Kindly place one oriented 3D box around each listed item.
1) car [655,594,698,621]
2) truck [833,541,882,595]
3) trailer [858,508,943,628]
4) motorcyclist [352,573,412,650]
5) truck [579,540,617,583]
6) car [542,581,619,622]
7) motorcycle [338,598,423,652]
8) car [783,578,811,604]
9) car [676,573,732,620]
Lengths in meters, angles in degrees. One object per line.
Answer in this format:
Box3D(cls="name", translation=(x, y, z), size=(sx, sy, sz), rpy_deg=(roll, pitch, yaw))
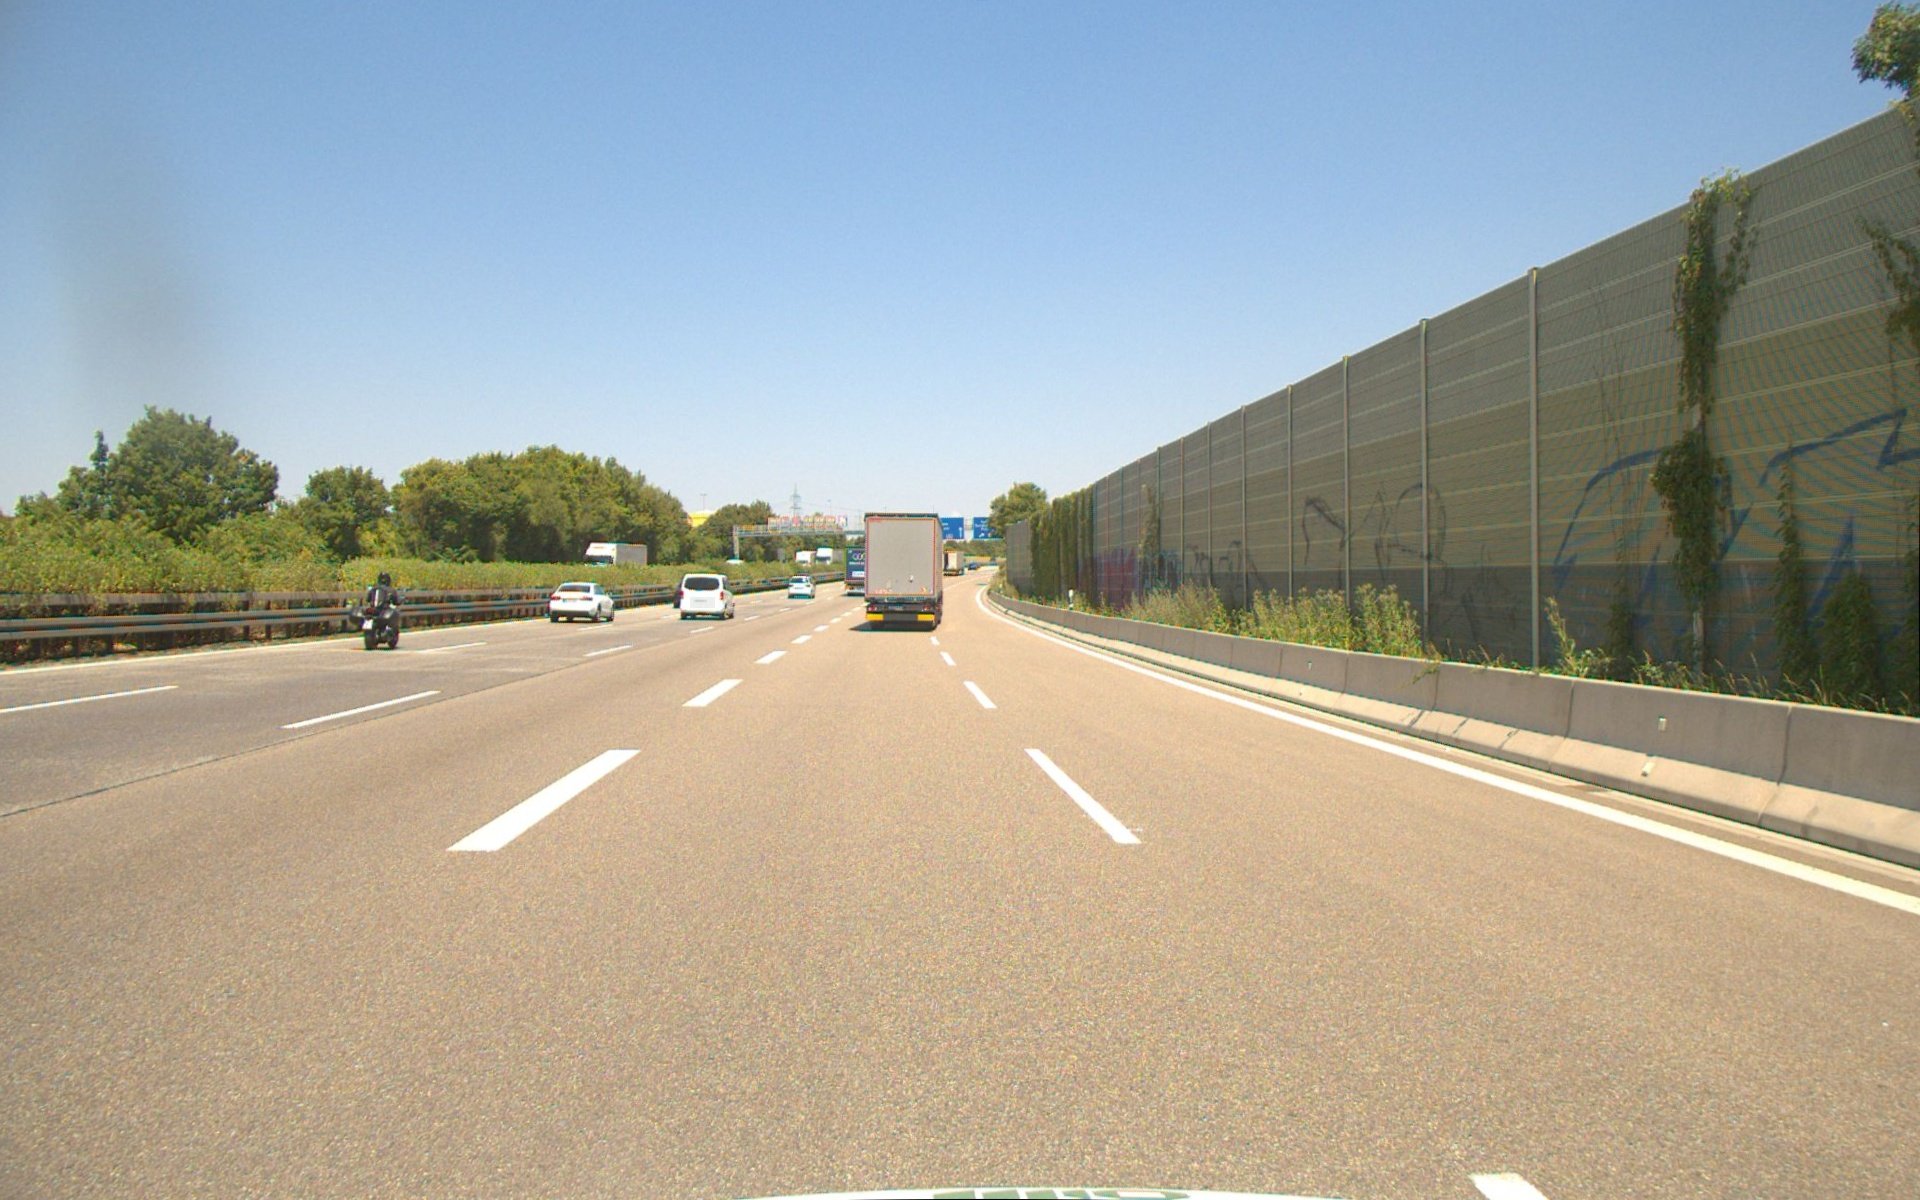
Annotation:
Box3D(cls="car", translation=(-15.470, 0.407, 90.454), size=(1.722, 1.433, 5.036), rpy_deg=(0, -1, -3))
Box3D(cls="truck", translation=(-8.768, -2.838, 143.648), size=(3.671, 4.344, 14.493), rpy_deg=(1, 2, -2))
Box3D(cls="trailer", translation=(-2.273, -1.130, 62.272), size=(2.869, 4.085, 12.033), rpy_deg=(0, 0, -2))
Box3D(cls="motorcyclist", translation=(-12.449, 0.250, 35.660), size=(0.875, 1.625, 1.299), rpy_deg=(0, 0, -2))
Box3D(cls="truck", translation=(-34.207, -3.601, 156.473), size=(2.486, 4.016, 5.166), rpy_deg=(1, 1, -1))
Box3D(cls="car", translation=(-14.055, 0.044, 61.561), size=(1.839, 1.466, 5.124), rpy_deg=(1, 0, -2))
Box3D(cls="motorcycle", translation=(-12.441, 0.521, 35.602), size=(0.894, 1.108, 2.849), rpy_deg=(0, 0, -2))
Box3D(cls="car", translation=(-12.259, -0.699, 124.730), size=(1.866, 1.884, 4.628), rpy_deg=(0, 1, -3))
Box3D(cls="car", translation=(-10.790, -0.114, 69.958), size=(1.892, 1.884, 4.688), rpy_deg=(0, -1, -4))
